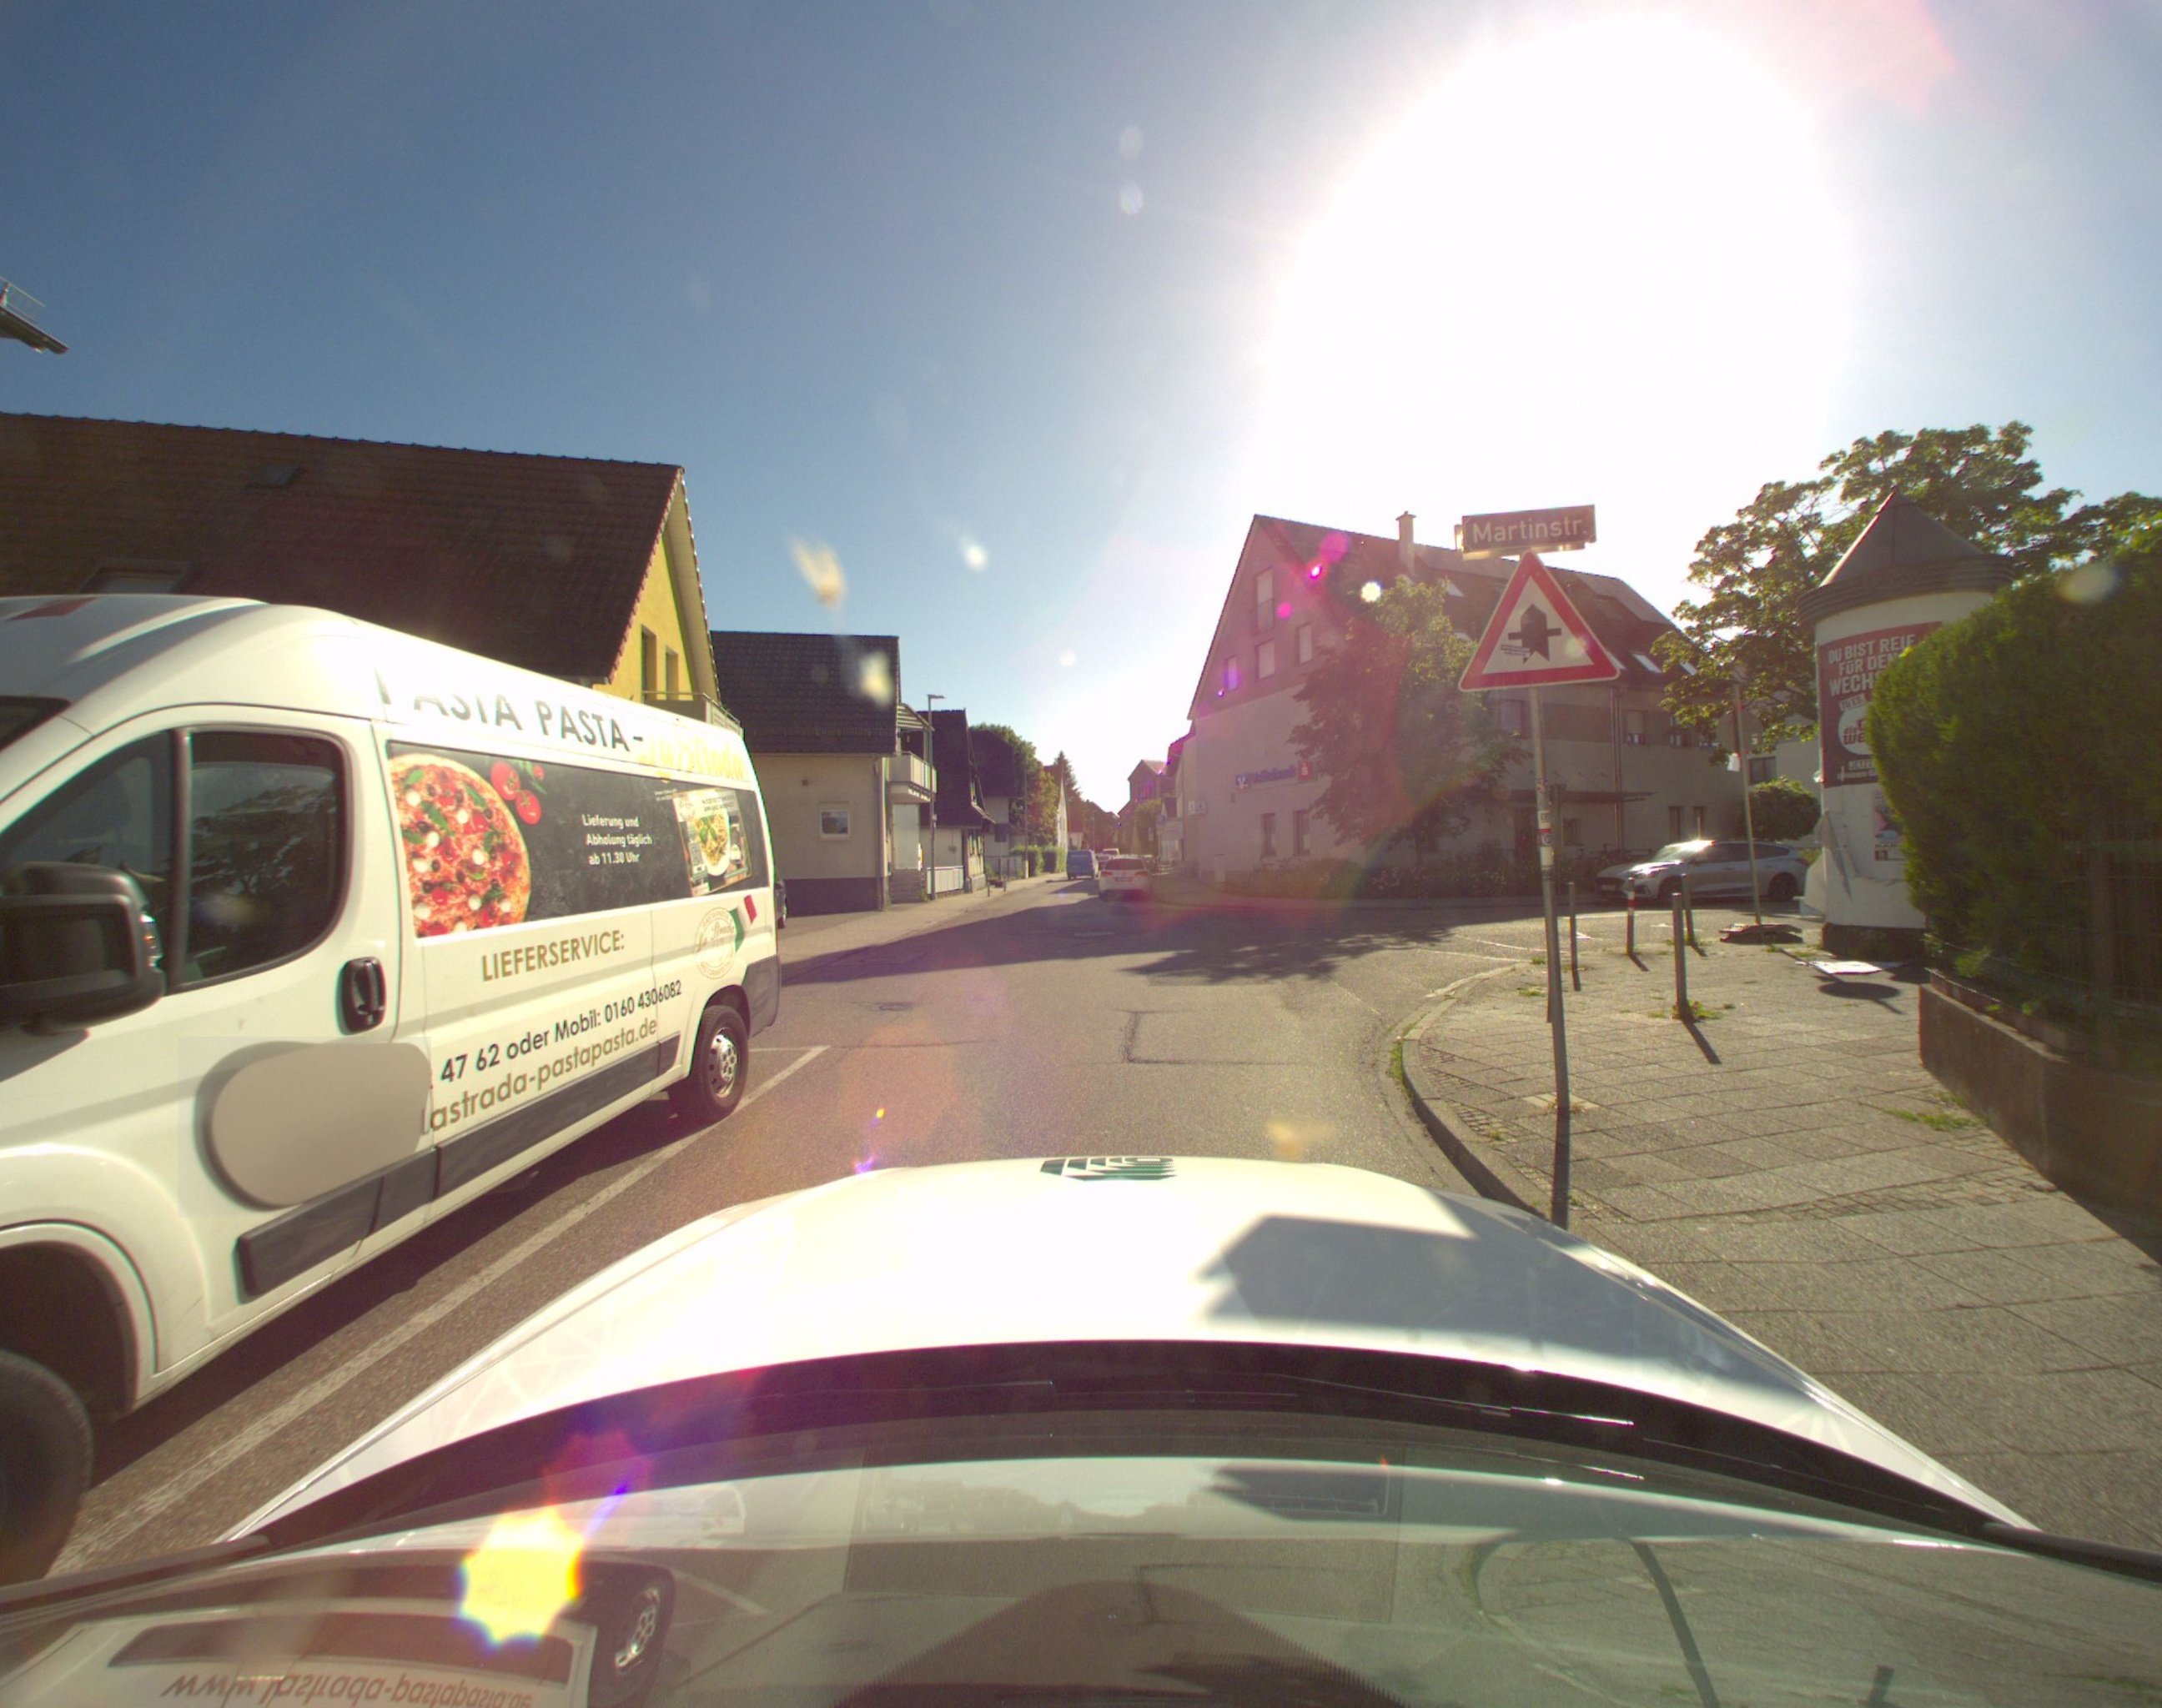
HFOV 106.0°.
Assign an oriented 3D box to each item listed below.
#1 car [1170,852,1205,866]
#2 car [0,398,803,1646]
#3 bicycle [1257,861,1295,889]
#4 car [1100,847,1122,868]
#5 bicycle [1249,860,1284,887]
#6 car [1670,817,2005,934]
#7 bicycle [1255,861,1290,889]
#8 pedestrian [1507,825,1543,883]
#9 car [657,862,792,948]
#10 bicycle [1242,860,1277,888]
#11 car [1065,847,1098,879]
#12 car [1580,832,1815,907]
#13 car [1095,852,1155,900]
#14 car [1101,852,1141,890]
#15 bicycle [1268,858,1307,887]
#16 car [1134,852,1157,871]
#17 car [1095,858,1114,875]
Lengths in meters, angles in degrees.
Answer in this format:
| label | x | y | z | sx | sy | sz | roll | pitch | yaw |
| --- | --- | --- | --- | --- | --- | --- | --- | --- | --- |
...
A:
| label | x | y | z | sx | sy | sz | roll | pitch | yaw |
| --- | --- | --- | --- | --- | --- | --- | --- | --- | --- |
| car | 12.515 | 0.580 | 95.813 | 3.884 | 1.492 | 1.854 | -2 | -1 | 14 |
| car | -3.260 | 0.351 | 3.327 | 2.245 | 2.470 | 5.515 | -2 | 0 | 0 |
| bicycle | 6.589 | 0.703 | 27.537 | 1.159 | 0.920 | 0.313 | -2 | 0 | 0 |
| car | 3.660 | 0.376 | 98.696 | 2.186 | 2.390 | 6.074 | -3 | 0 | 6 |
| bicycle | 6.616 | 0.704 | 29.063 | 1.155 | 0.920 | 0.314 | -2 | 0 | 11 |
| car | 12.224 | 0.319 | 13.261 | 4.293 | 1.593 | 1.807 | -2 | -1 | -12 |
| bicycle | 6.697 | 0.734 | 28.555 | 1.155 | 0.920 | 0.314 | -2 | 0 | 11 |
| pedestrian | 15.809 | 0.004 | 28.995 | 0.773 | 2.013 | 0.763 | -2 | 0 | -13 |
| car | -6.933 | 0.896 | 16.258 | 1.690 | 1.445 | 4.158 | 0 | 0 | -13 |
| bicycle | 6.507 | 0.743 | 29.698 | 1.213 | 0.975 | 0.321 | -2 | 0 | 16 |
| car | 0.086 | 0.575 | 54.504 | 1.895 | 1.917 | 5.072 | -3 | 0 | 2 |
| car | 14.240 | 0.327 | 18.932 | 4.286 | 1.494 | 1.810 | -2 | 0 | -7 |
| car | 1.626 | 0.707 | 28.697 | 1.836 | 1.514 | 4.514 | -1 | 0 | 6 |
| car | 1.700 | 0.694 | 34.947 | 1.603 | 1.521 | 3.974 | 0 | 0 | 2 |
| bicycle | 6.769 | 0.608 | 26.682 | 1.159 | 0.920 | 0.313 | -2 | 0 | 0 |
| car | 5.292 | 0.600 | 66.690 | 1.803 | 1.475 | 4.665 | -1 | 0 | 4 |
| car | 2.489 | 1.297 | 86.888 | 1.706 | 1.598 | 3.931 | -3 | 0 | 5 |
